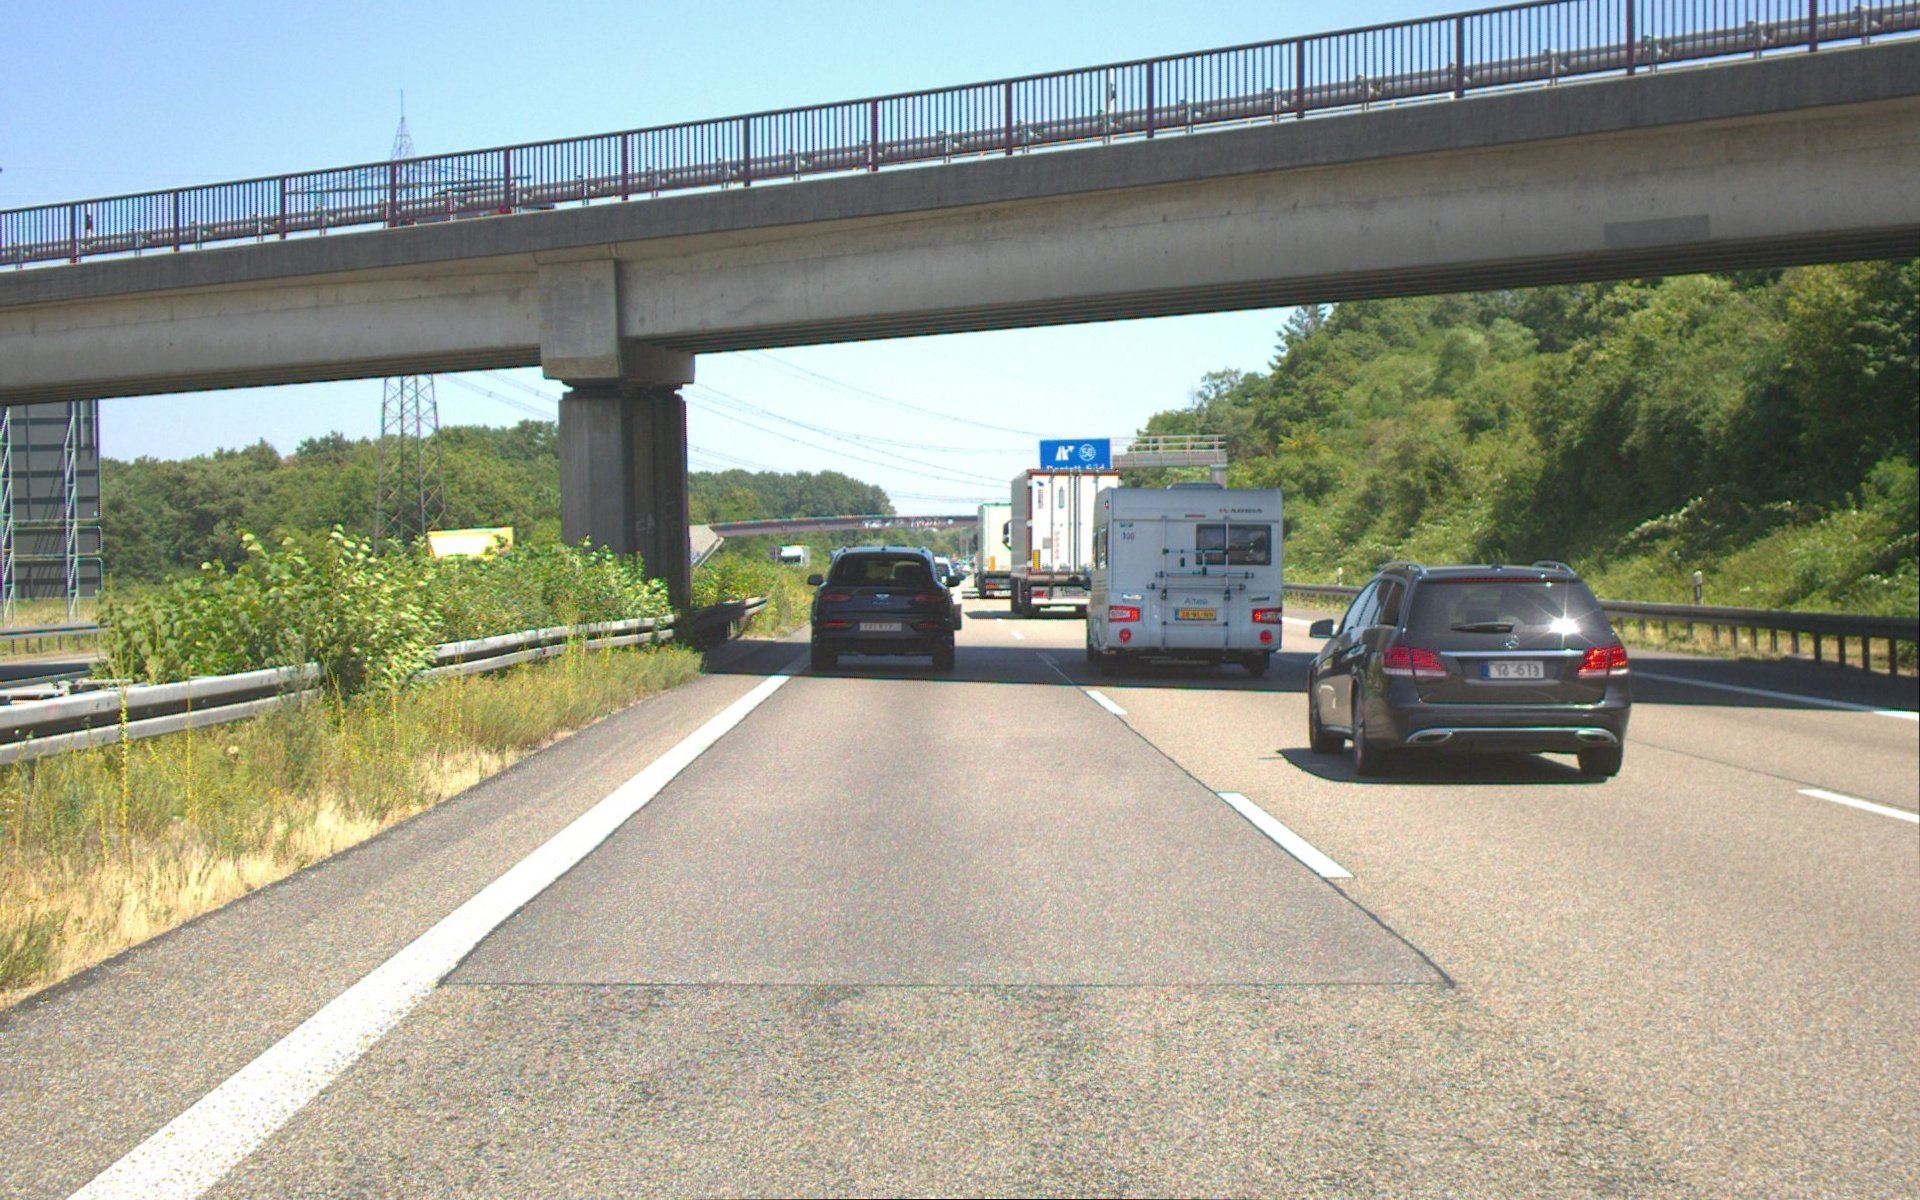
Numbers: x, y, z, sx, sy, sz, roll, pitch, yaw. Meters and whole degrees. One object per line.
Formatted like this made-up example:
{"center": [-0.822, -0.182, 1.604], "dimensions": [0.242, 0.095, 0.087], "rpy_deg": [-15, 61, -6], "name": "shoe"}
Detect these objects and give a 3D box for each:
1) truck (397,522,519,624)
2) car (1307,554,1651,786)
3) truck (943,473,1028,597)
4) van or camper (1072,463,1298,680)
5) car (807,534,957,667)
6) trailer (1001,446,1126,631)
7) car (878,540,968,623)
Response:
{"center": [-19.576, -1.060, 134.517], "dimensions": [3.512, 3.849, 8.662], "rpy_deg": [0, 1, 0], "name": "truck"}
{"center": [3.677, 0.432, 25.130], "dimensions": [1.841, 1.500, 4.738], "rpy_deg": [-1, 1, 1], "name": "car"}
{"center": [1.043, -2.778, 148.297], "dimensions": [3.512, 5.149, 10.259], "rpy_deg": [0, 1, 0], "name": "truck"}
{"center": [2.915, -0.406, 46.049], "dimensions": [2.439, 2.665, 6.350], "rpy_deg": [-1, 1, -1], "name": "van or camper"}
{"center": [-1.099, -0.021, 48.578], "dimensions": [1.993, 1.766, 4.000], "rpy_deg": [-1, 1, -1], "name": "car"}
{"center": [2.831, -1.672, 97.613], "dimensions": [3.087, 4.868, 12.258], "rpy_deg": [1, 0, 0], "name": "trailer"}
{"center": [-0.871, -0.443, 78.907], "dimensions": [1.961, 1.808, 4.449], "rpy_deg": [-1, 1, -1], "name": "car"}
